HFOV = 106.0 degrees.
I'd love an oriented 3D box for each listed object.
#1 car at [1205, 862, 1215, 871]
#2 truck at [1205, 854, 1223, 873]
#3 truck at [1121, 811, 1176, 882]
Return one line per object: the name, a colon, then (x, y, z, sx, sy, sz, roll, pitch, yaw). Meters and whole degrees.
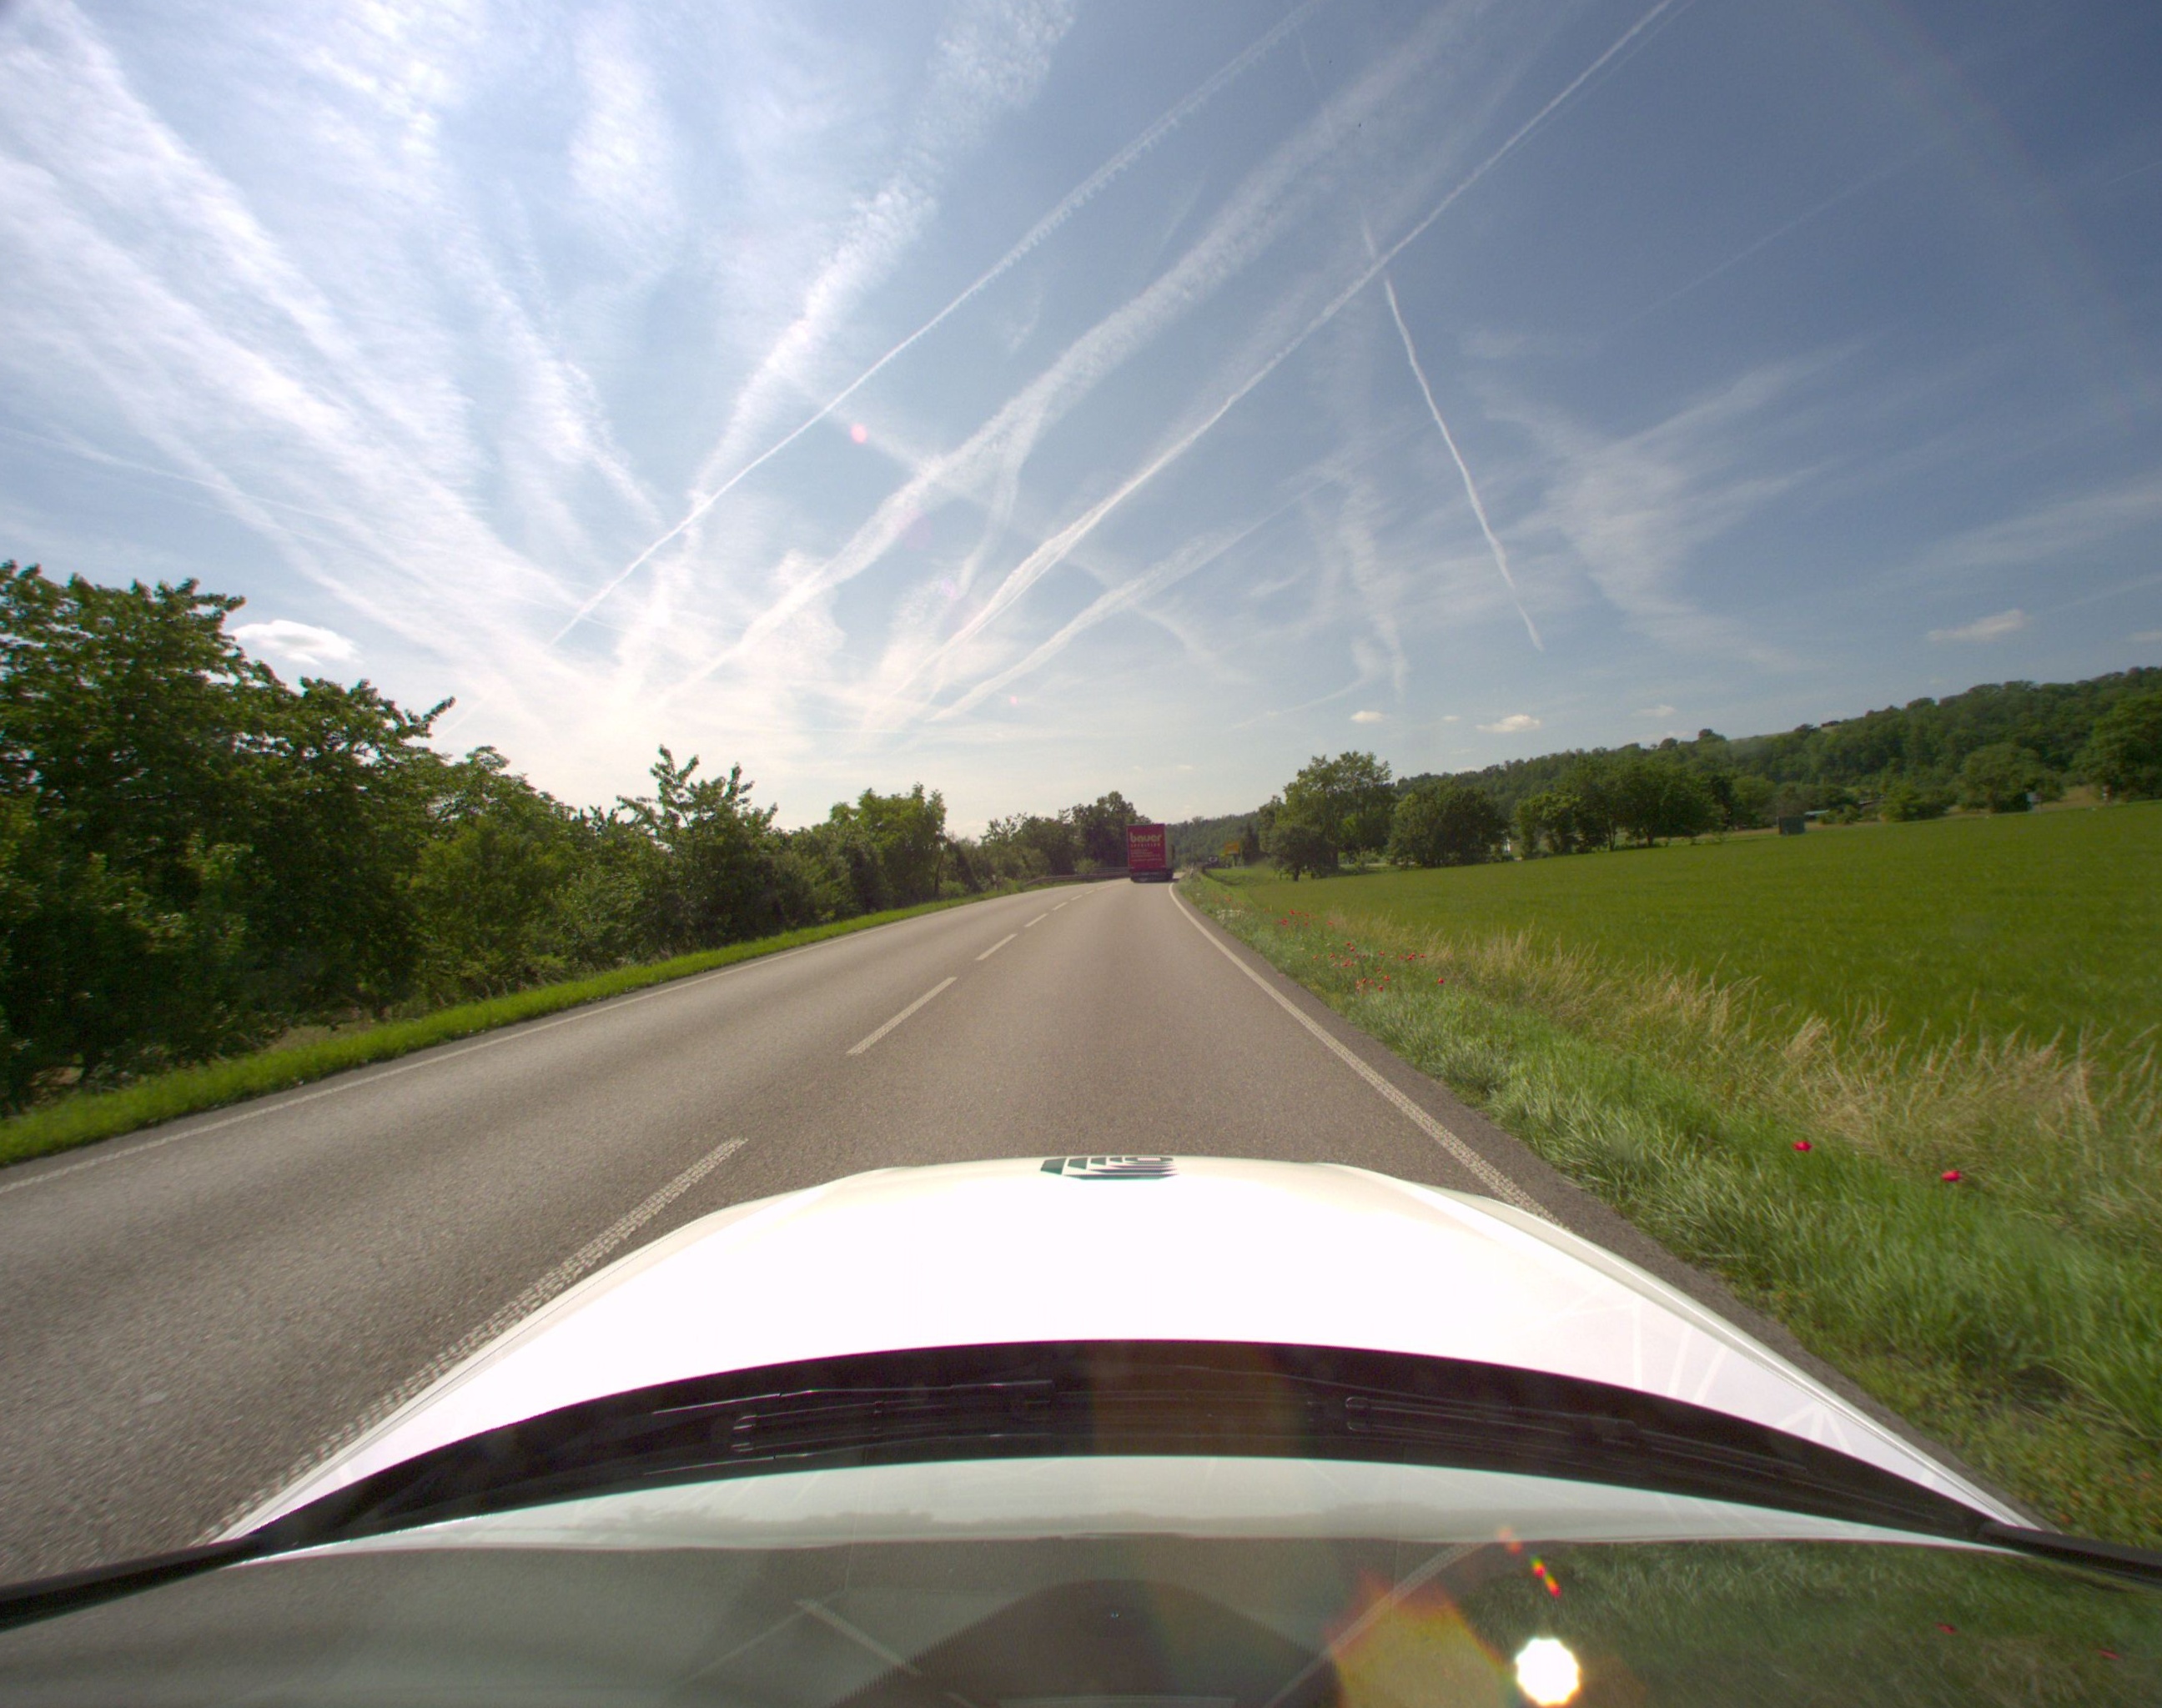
car: (27.626, 2.675, 174.415, 1.980, 1.810, 4.012, 0, -2, 12)
truck: (33.277, 2.387, 203.808, 3.879, 4.370, 13.331, -1, -2, 11)
truck: (5.292, -0.445, 60.907, 3.154, 4.625, 13.573, -2, -1, 8)
